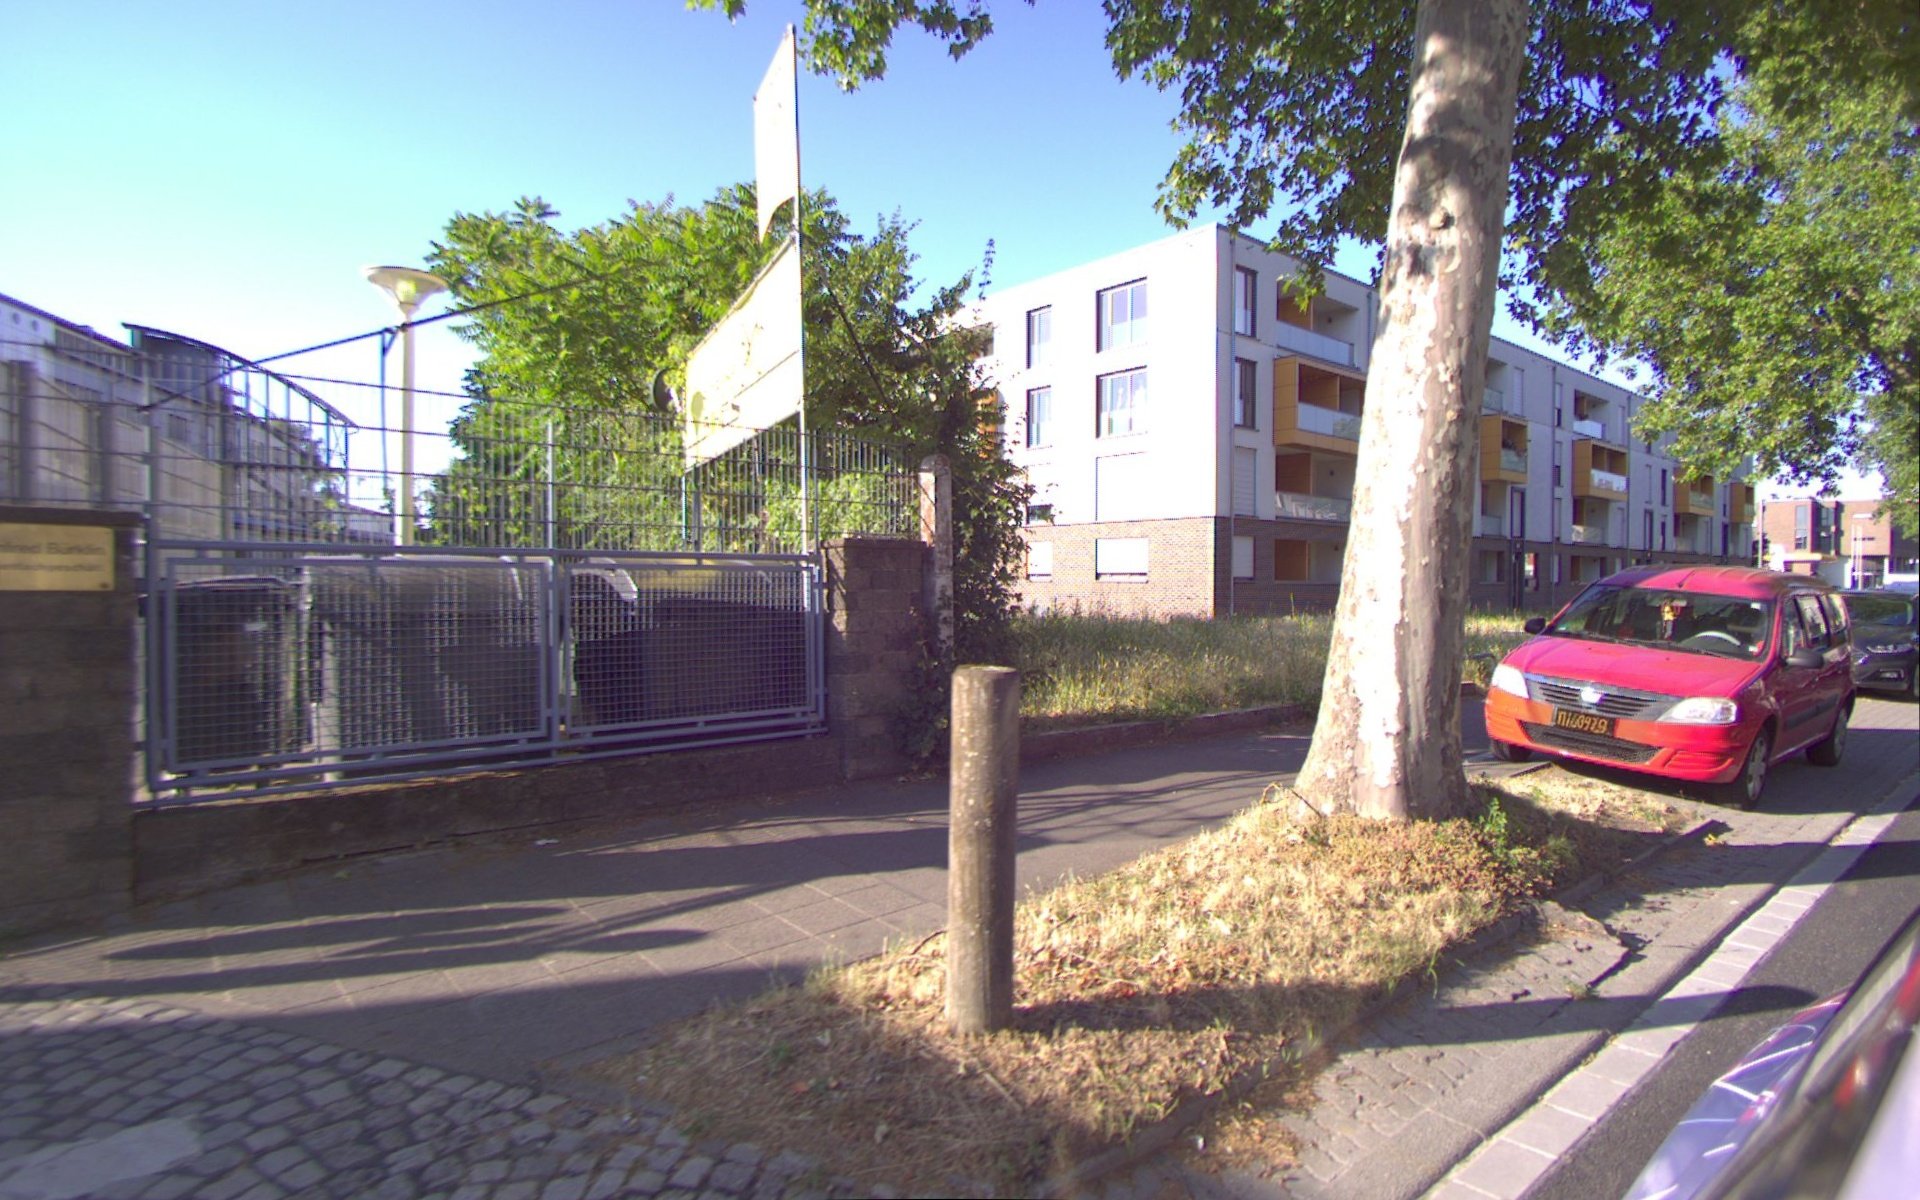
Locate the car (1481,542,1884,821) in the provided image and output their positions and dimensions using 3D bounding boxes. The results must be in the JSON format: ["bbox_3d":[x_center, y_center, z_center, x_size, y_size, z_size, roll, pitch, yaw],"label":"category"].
[{"bbox_3d":[5.984,0.451,8.182,4.259,1.710,1.602,-1,2,-40],"label":"car"}]

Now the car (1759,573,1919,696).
[{"bbox_3d":[13.552,0.399,14.916,4.611,1.499,1.705,-1,4,-38],"label":"car"}]

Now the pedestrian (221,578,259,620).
[{"bbox_3d":[-30.830,-0.059,43.327,0.992,1.777,0.875,-1,0,10],"label":"pedestrian"}]
